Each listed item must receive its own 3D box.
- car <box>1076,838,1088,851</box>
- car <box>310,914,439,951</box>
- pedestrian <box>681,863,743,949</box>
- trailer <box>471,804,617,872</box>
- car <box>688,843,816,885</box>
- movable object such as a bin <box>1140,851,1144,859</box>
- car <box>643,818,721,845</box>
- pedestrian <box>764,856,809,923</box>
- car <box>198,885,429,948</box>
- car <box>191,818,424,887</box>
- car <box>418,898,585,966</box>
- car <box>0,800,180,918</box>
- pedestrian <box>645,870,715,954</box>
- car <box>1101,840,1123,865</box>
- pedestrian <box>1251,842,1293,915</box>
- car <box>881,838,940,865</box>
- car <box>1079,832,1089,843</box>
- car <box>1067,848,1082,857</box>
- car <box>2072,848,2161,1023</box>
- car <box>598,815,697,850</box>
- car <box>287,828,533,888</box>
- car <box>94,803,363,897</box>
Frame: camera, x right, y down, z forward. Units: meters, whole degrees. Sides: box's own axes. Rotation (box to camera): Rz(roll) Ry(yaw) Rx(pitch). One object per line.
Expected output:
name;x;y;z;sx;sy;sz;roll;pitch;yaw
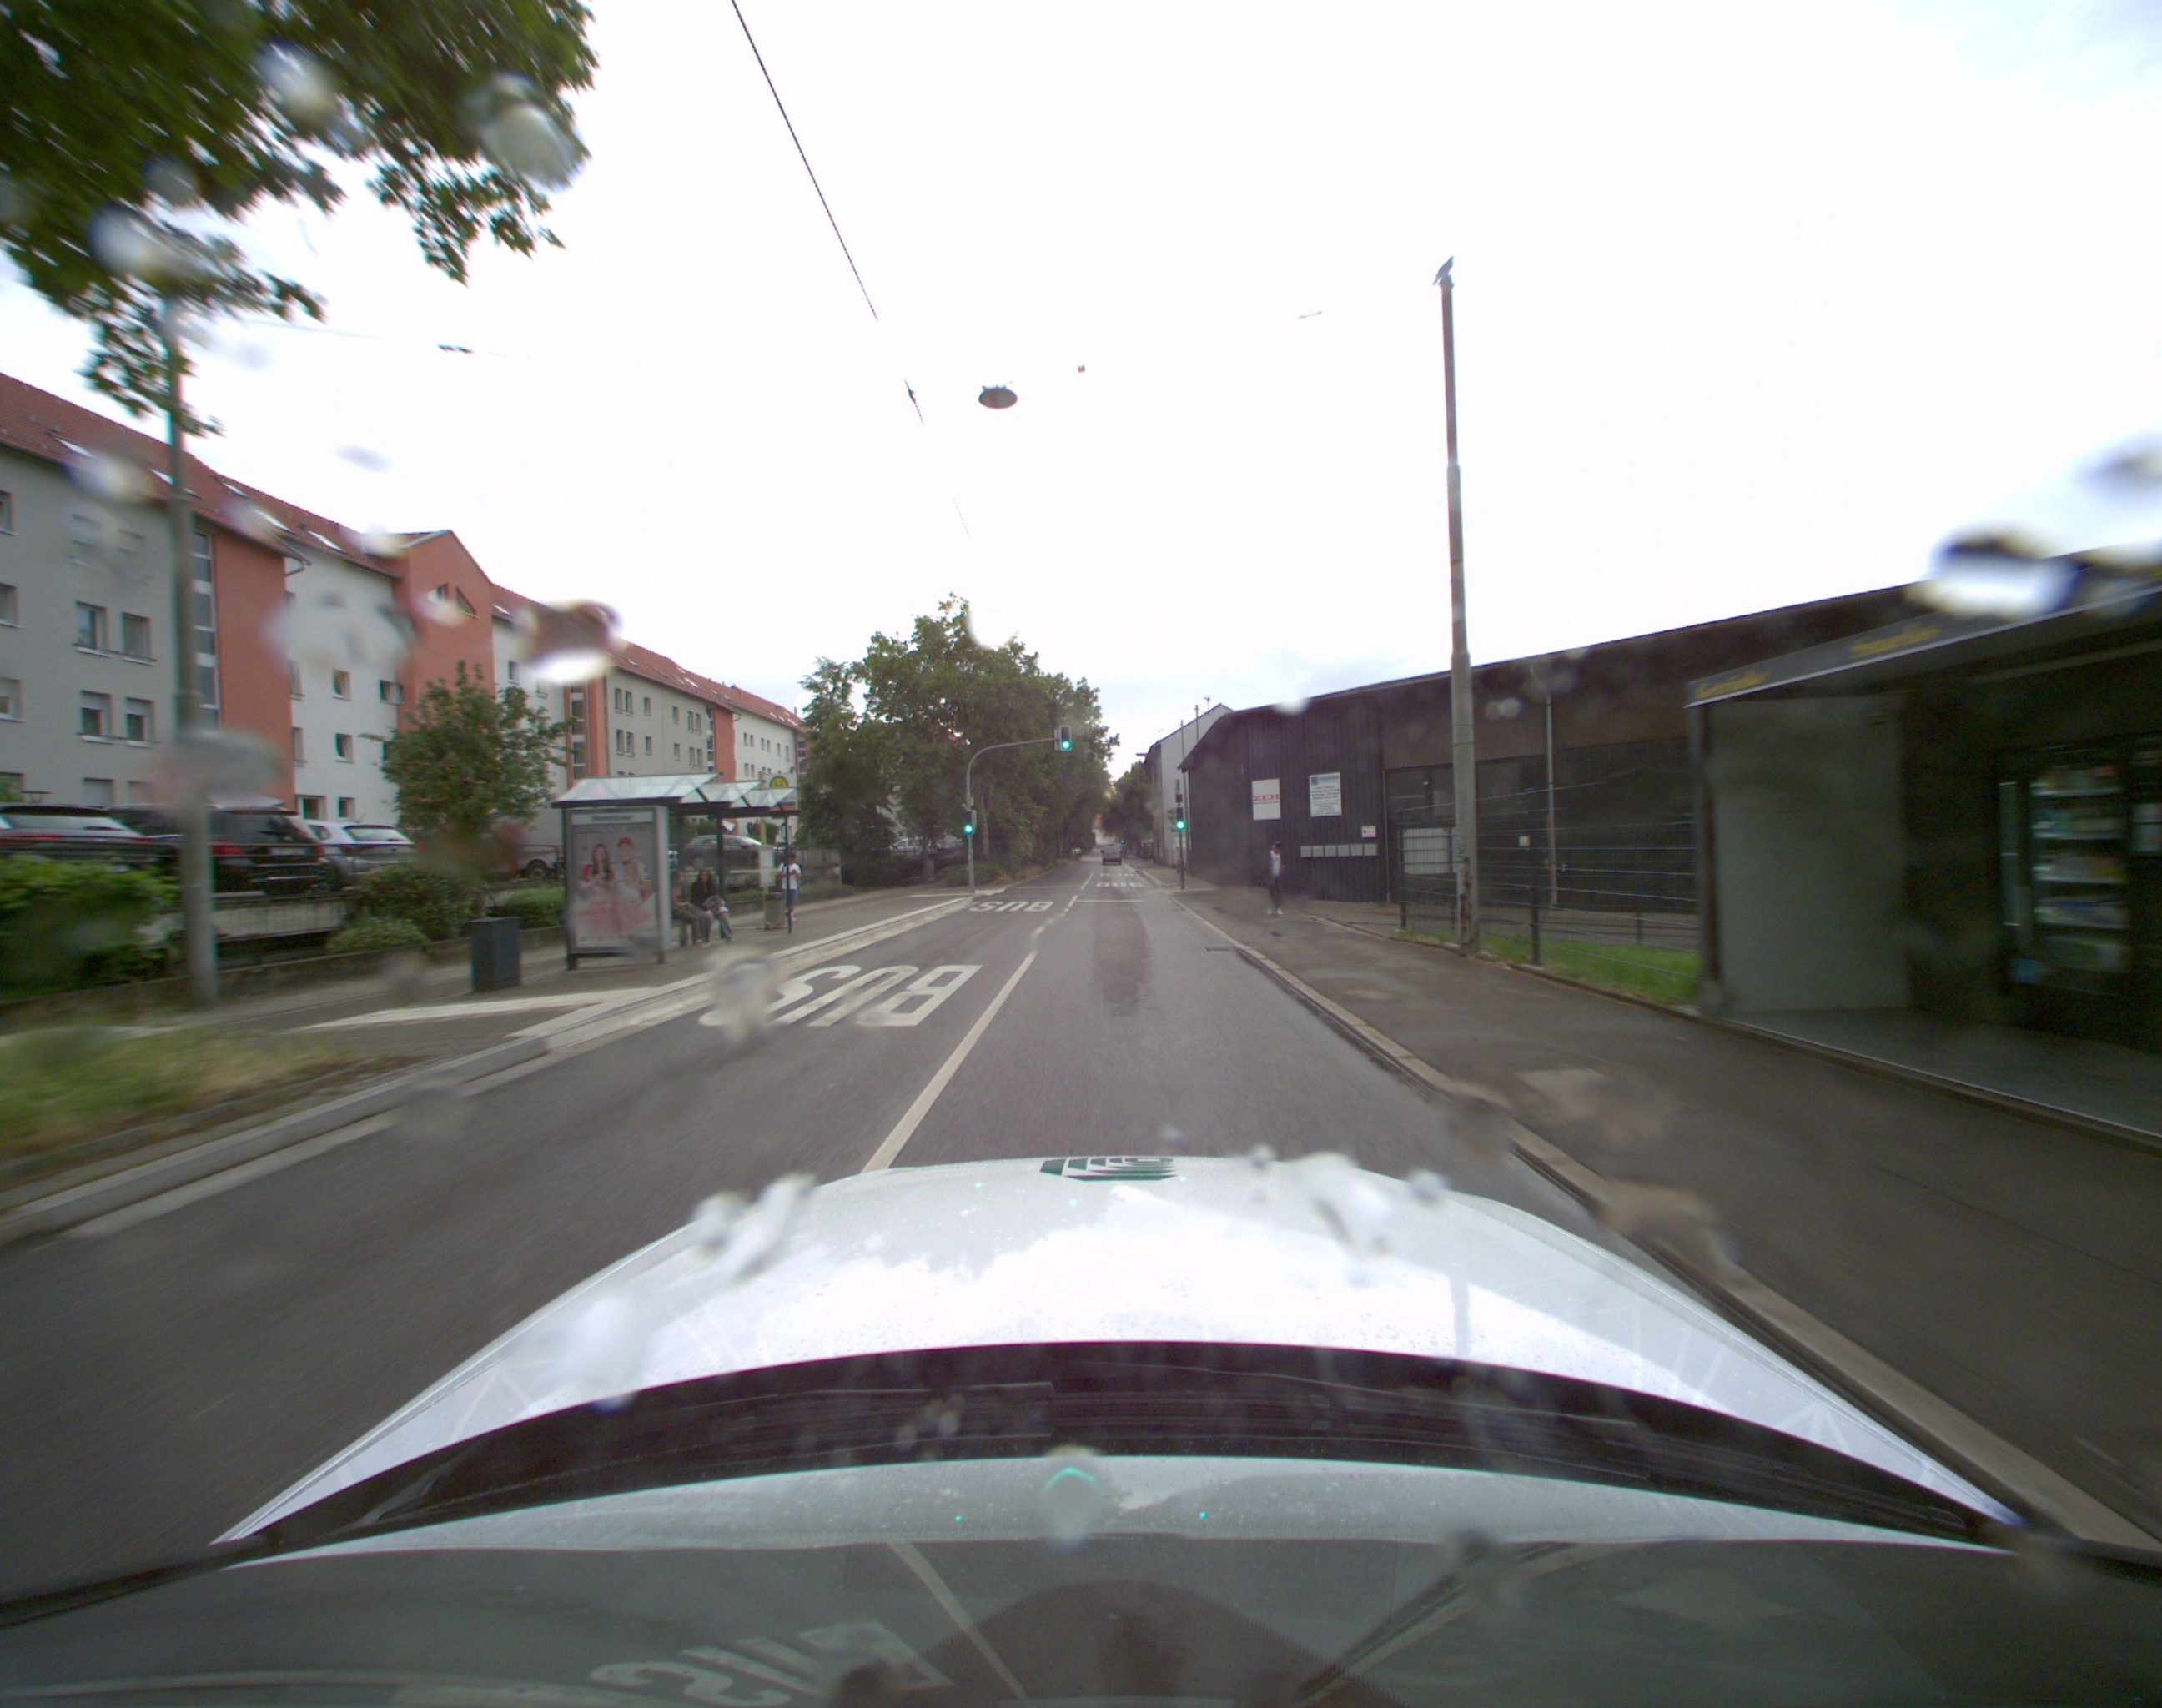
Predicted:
car;0.286;-1.940;168.235;2.206;2.533;4.614;0;0;4
car;-23.946;2.661;27.647;3.185;1.082;1.378;-1;0;2
pedestrian;-6.462;0.903;14.289;0.684;1.418;0.641;-4;-2;5
trailer;-13.508;-0.380;20.572;2.693;1.645;1.481;0;-1;2
car;-13.743;0.435;34.223;4.529;1.672;2.000;0;-2;0
movable object such as a bin;8.485;0.082;113.550;0.399;1.066;0.358;-5;-1;-5
car;-22.433;-1.253;45.888;3.587;1.394;1.543;0;-2;0
pedestrian;-7.352;0.875;20.351;0.738;1.598;0.607;-5;-2;5
car;-18.138;1.463;19.364;3.954;1.404;1.590;0;-2;1
car;-14.900;-0.014;15.793;3.118;1.270;1.437;0;-2;1
car;-16.369;2.172;23.124;3.496;1.697;1.706;-1;0;1
car;-15.384;0.084;11.227;3.643;1.498;1.896;0;-2;-2
pedestrian;-6.651;0.956;13.529;0.771;1.317;0.641;-4;-2;5
car;3.377;-0.113;88.393;2.274;2.553;4.002;-1;-2;2
pedestrian;4.540;0.578;19.389;0.741;1.704;0.900;0;-1;-4
car;-13.123;-0.206;62.817;4.155;2.013;1.718;-1;0;-1
car;0.715;-3.880;189.470;2.205;2.294;4.613;0;-2;4
car;-1.112;-0.255;142.875;2.205;1.592;4.614;0;-1;4
car;10.741;0.651;6.247;3.971;1.423;1.786;0;-2;2
car;-20.880;-1.014;39.309;3.798;1.602;1.718;0;-2;0
car;-15.101;0.107;18.497;4.073;1.303;1.810;0;-2;1
car;-14.658;-0.045;14.110;3.118;1.543;1.437;0;-2;1
